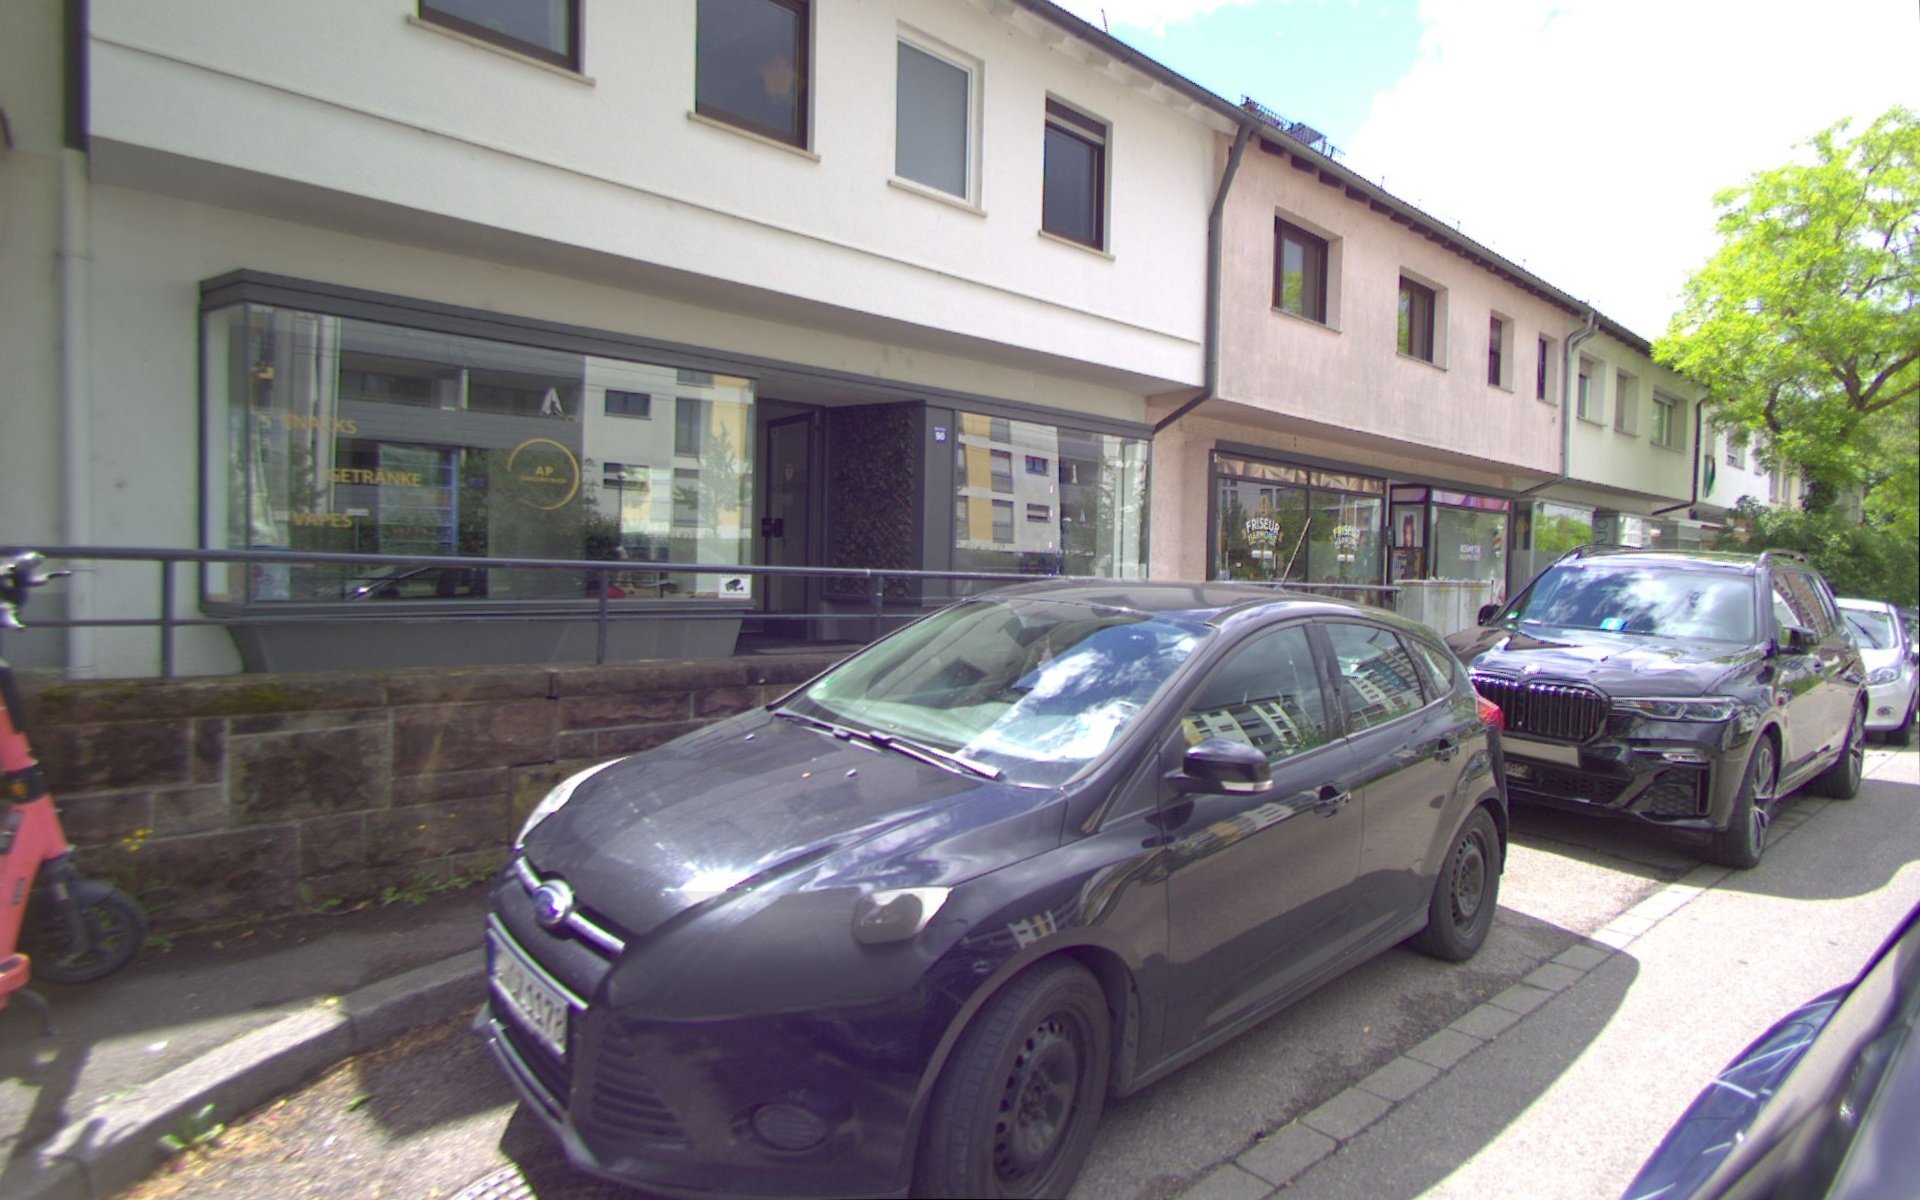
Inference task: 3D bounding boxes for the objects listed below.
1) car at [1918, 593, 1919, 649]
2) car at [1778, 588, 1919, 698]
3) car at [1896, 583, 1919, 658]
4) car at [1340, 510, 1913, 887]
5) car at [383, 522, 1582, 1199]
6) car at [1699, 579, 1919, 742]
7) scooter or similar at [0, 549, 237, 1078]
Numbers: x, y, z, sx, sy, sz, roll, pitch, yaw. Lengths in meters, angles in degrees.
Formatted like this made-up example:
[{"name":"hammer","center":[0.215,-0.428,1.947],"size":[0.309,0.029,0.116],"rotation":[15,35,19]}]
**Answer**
[{"name":"car","center":[27.131,0.569,27.097],"size":[4.368,1.444,1.728],"rotation":[0,2,-41]},{"name":"car","center":[14.034,0.579,15.209],"size":[3.926,1.365,1.777],"rotation":[0,4,-38]},{"name":"car","center":[23.168,0.464,23.406],"size":[4.353,1.664,1.840],"rotation":[0,2,-42]},{"name":"car","center":[4.992,0.415,7.234],"size":[4.985,1.810,2.020],"rotation":[0,3,-40]},{"name":"car","center":[0.488,0.586,3.636],"size":[4.170,1.524,1.837],"rotation":[0,3,-42]},{"name":"car","center":[10.055,0.552,11.632],"size":[3.834,1.459,1.774],"rotation":[-1,5,-43]},{"name":"scooter or similar","center":[-2.540,0.505,2.444],"size":[0.528,1.258,1.231],"rotation":[3,1,13]}]
